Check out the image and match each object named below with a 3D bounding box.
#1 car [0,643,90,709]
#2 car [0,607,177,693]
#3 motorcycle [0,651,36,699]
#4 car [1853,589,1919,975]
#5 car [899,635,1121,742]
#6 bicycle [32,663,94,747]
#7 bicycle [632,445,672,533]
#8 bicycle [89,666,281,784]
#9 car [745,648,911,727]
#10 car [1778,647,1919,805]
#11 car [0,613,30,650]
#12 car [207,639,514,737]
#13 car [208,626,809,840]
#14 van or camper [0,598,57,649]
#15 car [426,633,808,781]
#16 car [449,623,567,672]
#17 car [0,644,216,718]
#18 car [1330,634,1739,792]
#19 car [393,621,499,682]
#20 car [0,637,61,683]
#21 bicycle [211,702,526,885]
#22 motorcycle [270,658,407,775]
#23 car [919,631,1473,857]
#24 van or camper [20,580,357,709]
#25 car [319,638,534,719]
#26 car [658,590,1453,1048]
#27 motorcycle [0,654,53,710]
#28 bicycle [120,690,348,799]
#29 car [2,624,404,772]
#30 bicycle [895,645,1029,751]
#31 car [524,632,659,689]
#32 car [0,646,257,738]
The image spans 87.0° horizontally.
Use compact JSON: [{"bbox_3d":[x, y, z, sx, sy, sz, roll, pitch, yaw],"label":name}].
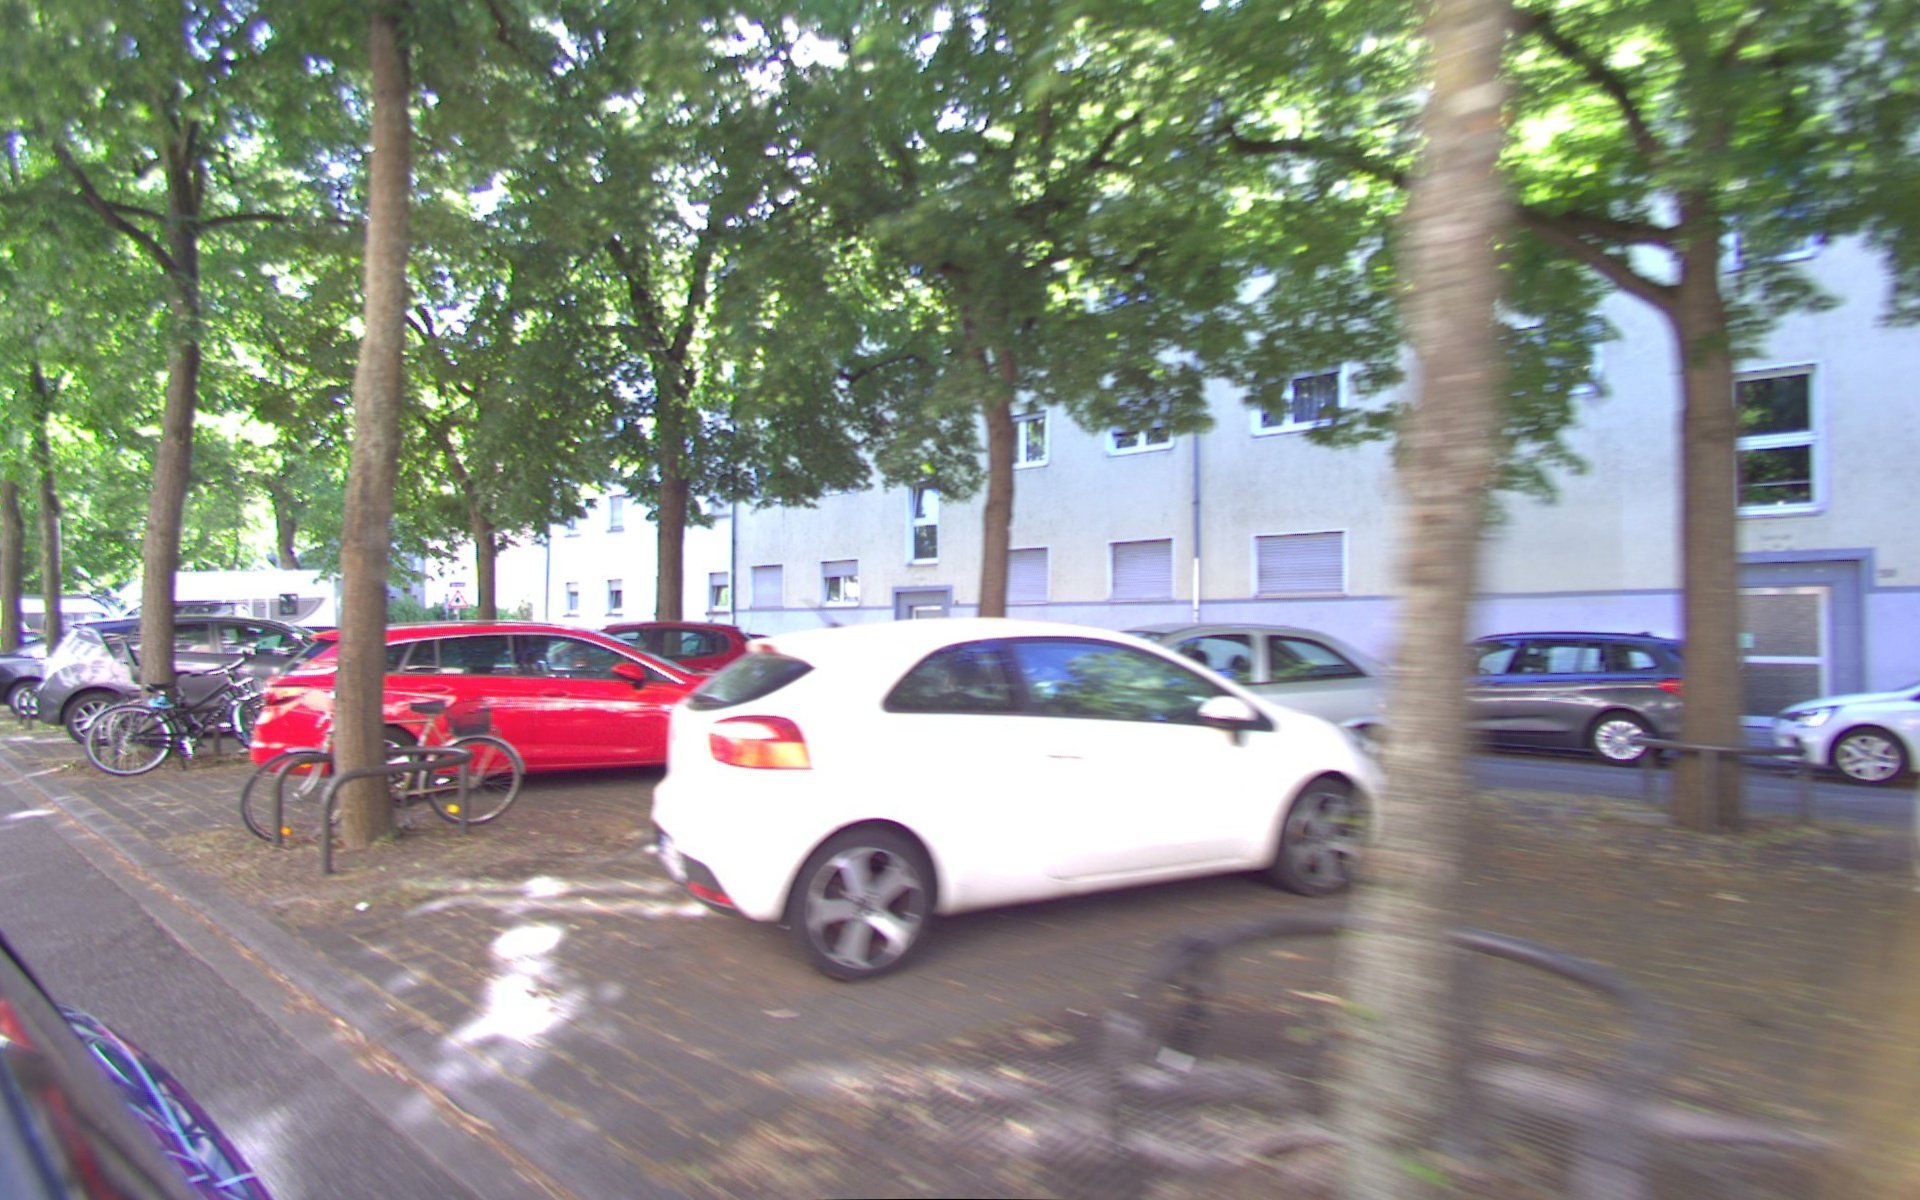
[{"bbox_3d":[-24.753,1.906,25.931,3.837,1.630,1.658,0,-3,10],"label":"car"},{"bbox_3d":[-29.006,1.540,32.065,6.220,2.578,2.345,-1,-1,-16],"label":"car"},{"bbox_3d":[-27.782,2.142,28.584,0.966,1.345,2.301,-2,-2,32],"label":"motorcycle"},{"bbox_3d":[5.964,0.734,4.032,3.849,1.567,1.852,1,-3,-18],"label":"car"},{"bbox_3d":[0.867,1.553,18.674,3.833,1.767,1.684,-2,-3,38],"label":"car"},{"bbox_3d":[-13.385,1.536,15.132,0.422,1.139,1.683,0,-2,-32],"label":"bicycle"},{"bbox_3d":[-5.003,-1.756,16.386,0.350,1.209,1.807,-1,-1,-25],"label":"bicycle"},{"bbox_3d":[-8.649,1.374,11.359,1.662,1.167,0.380,-1,-1,-29],"label":"bicycle"},{"bbox_3d":[-2.928,1.843,22.177,3.576,1.588,1.600,-2,-4,39],"label":"car"},{"bbox_3d":[10.983,1.273,10.234,4.156,1.577,1.873,-2,-4,39],"label":"car"},{"bbox_3d":[-67.883,2.169,69.070,6.094,2.531,2.145,1,-3,-21],"label":"car"},{"bbox_3d":[-9.916,1.417,17.092,4.128,1.401,1.823,-1,-1,-15],"label":"car"},{"bbox_3d":[-3.803,1.046,9.209,4.549,1.497,1.766,-1,-1,-18],"label":"car"},{"bbox_3d":[-58.798,1.419,61.016,5.929,3.025,2.407,1,-3,-20],"label":"van or camper"},{"bbox_3d":[-4.037,1.173,12.223,4.045,1.484,1.877,0,-2,-20],"label":"car"},{"bbox_3d":[-14.370,1.521,32.100,4.077,1.447,1.732,-2,-4,39],"label":"car"},{"bbox_3d":[-19.017,1.733,22.115,4.086,1.436,1.720,0,-1,-17],"label":"car"},{"bbox_3d":[7.366,1.354,13.260,4.376,1.732,1.826,-2,-5,41],"label":"car"},{"bbox_3d":[-18.106,1.795,35.598,3.998,2.029,1.972,-2,-3,41],"label":"car"},{"bbox_3d":[-34.887,2.243,35.945,4.030,1.537,1.707,-4,-1,-18],"label":"car"},{"bbox_3d":[-3.929,1.245,6.838,1.786,1.001,0.427,1,-2,-33],"label":"bicycle"},{"bbox_3d":[-7.373,1.348,12.087,0.636,1.264,1.513,-1,-2,4],"label":"motorcycle"},{"bbox_3d":[1.802,1.007,8.176,3.932,1.446,1.802,0,-1,-15],"label":"car"},{"bbox_3d":[-18.797,1.018,25.121,6.198,2.846,2.415,-1,-1,-20],"label":"van or camper"},{"bbox_3d":[-11.328,1.617,21.717,3.931,1.497,1.836,0,-1,-26],"label":"car"},{"bbox_3d":[0.451,0.803,5.209,3.630,1.608,1.778,-1,-1,-24],"label":"car"},{"bbox_3d":[-22.416,1.917,23.380,2.120,1.239,0.883,0,-2,-40],"label":"motorcycle"},{"bbox_3d":[-7.433,1.458,10.453,1.871,0.926,0.380,-1,-1,-29],"label":"bicycle"},{"bbox_3d":[-9.974,1.215,13.758,4.018,1.665,1.869,-1,-1,-22],"label":"car"},{"bbox_3d":[0.049,1.090,11.676,1.731,1.096,0.389,1,-2,-43],"label":"bicycle"},{"bbox_3d":[-10.466,1.673,28.597,4.300,1.409,1.628,-2,-1,39],"label":"car"},{"bbox_3d":[-14.728,1.534,17.434,3.953,1.485,1.630,1,-3,-13],"label":"car"}]
